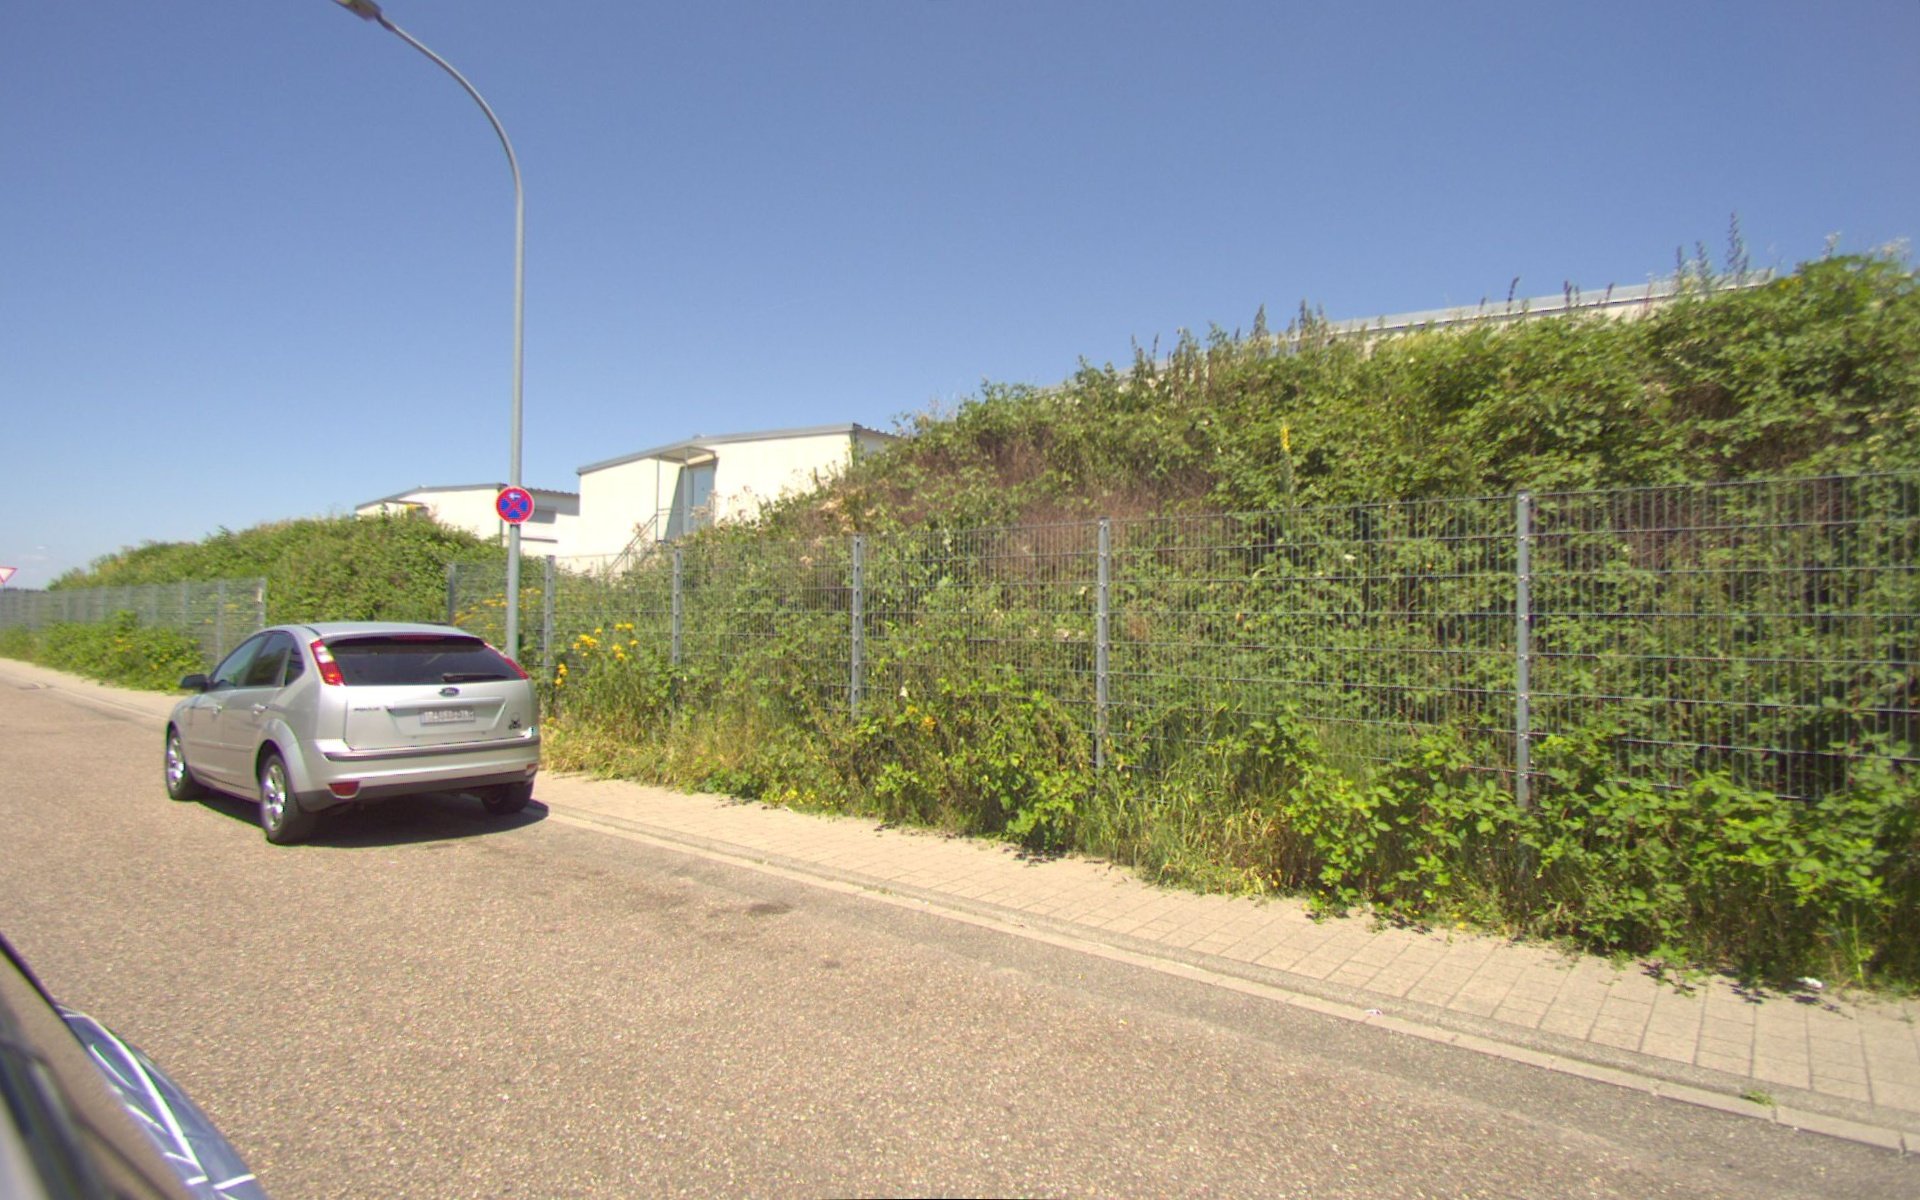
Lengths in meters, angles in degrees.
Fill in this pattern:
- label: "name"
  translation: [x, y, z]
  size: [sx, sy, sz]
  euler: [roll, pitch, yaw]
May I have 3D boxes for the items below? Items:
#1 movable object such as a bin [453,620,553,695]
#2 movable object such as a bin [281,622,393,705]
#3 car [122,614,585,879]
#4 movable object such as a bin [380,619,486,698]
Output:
- label: "movable object such as a bin"
  translation: [-10.002, 1.221, 22.152]
  size: [1.765, 1.476, 1.336]
  euler: [-1, 1, 40]
- label: "movable object such as a bin"
  translation: [-11.920, 1.176, 19.352]
  size: [1.837, 1.488, 1.290]
  euler: [-1, -2, 40]
- label: "car"
  translation: [-4.997, 0.912, 8.076]
  size: [4.363, 1.558, 1.815]
  euler: [-1, -3, 40]
- label: "movable object such as a bin"
  translation: [-10.921, 1.170, 20.970]
  size: [1.765, 1.476, 1.336]
  euler: [-1, 1, 40]
